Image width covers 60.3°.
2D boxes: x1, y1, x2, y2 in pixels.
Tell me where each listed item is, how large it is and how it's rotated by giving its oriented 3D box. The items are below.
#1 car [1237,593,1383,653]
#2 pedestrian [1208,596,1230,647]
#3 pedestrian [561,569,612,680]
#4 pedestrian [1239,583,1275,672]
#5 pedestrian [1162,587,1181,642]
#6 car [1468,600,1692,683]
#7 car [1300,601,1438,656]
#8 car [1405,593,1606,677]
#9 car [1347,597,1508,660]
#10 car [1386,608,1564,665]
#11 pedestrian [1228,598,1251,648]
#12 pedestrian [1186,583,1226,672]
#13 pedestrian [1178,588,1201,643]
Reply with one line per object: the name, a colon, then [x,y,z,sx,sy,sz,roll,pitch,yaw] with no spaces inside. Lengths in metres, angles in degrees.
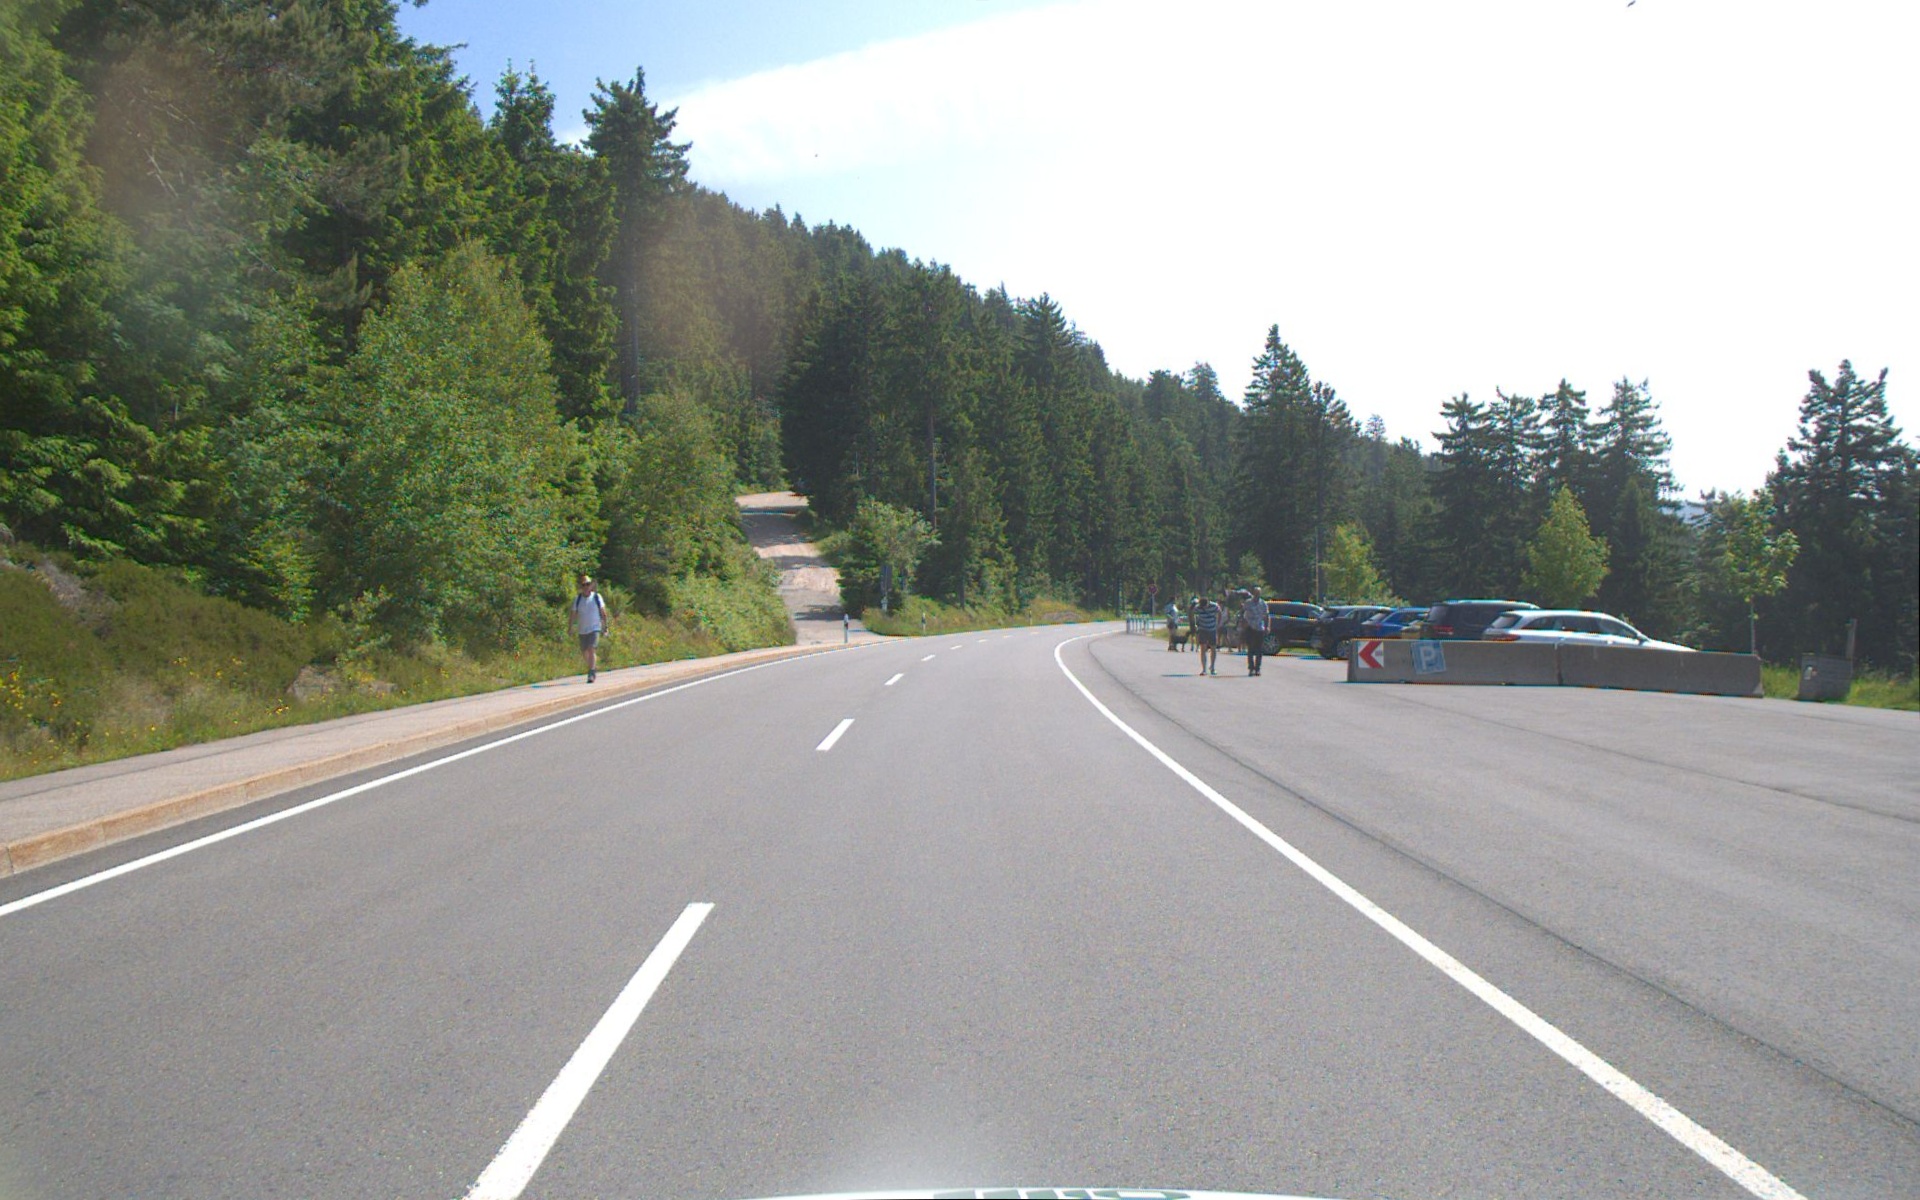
car: [11.006,0.722,52.220,4.178,1.825,1.891,1,-1,-2]
pedestrian: [8.704,0.724,55.570,0.638,1.689,0.688,-1,1,13]
pedestrian: [-6.082,0.397,26.986,0.669,1.777,0.825,0,0,-3]
pedestrian: [6.034,0.542,33.588,0.650,1.771,0.895,0,0,14]
pedestrian: [6.974,0.487,54.594,0.604,1.806,0.724,0,0,7]
car: [12.700,0.837,34.034,3.907,1.502,1.772,2,0,-3]
car: [12.160,0.838,49.241,3.679,1.595,1.598,1,0,-6]
car: [12.171,0.767,37.028,3.908,1.675,1.599,2,0,-4]
car: [12.937,0.781,45.946,3.908,1.562,1.806,1,3,-4]
car: [13.066,0.918,42.146,3.906,1.376,1.986,1,0,-1]
pedestrian: [9.241,0.770,54.718,0.604,1.615,0.735,-1,1,20]
pedestrian: [5.042,0.547,33.835,0.737,1.791,0.776,0,0,14]
pedestrian: [7.344,0.495,52.979,0.700,1.722,0.619,0,0,7]
